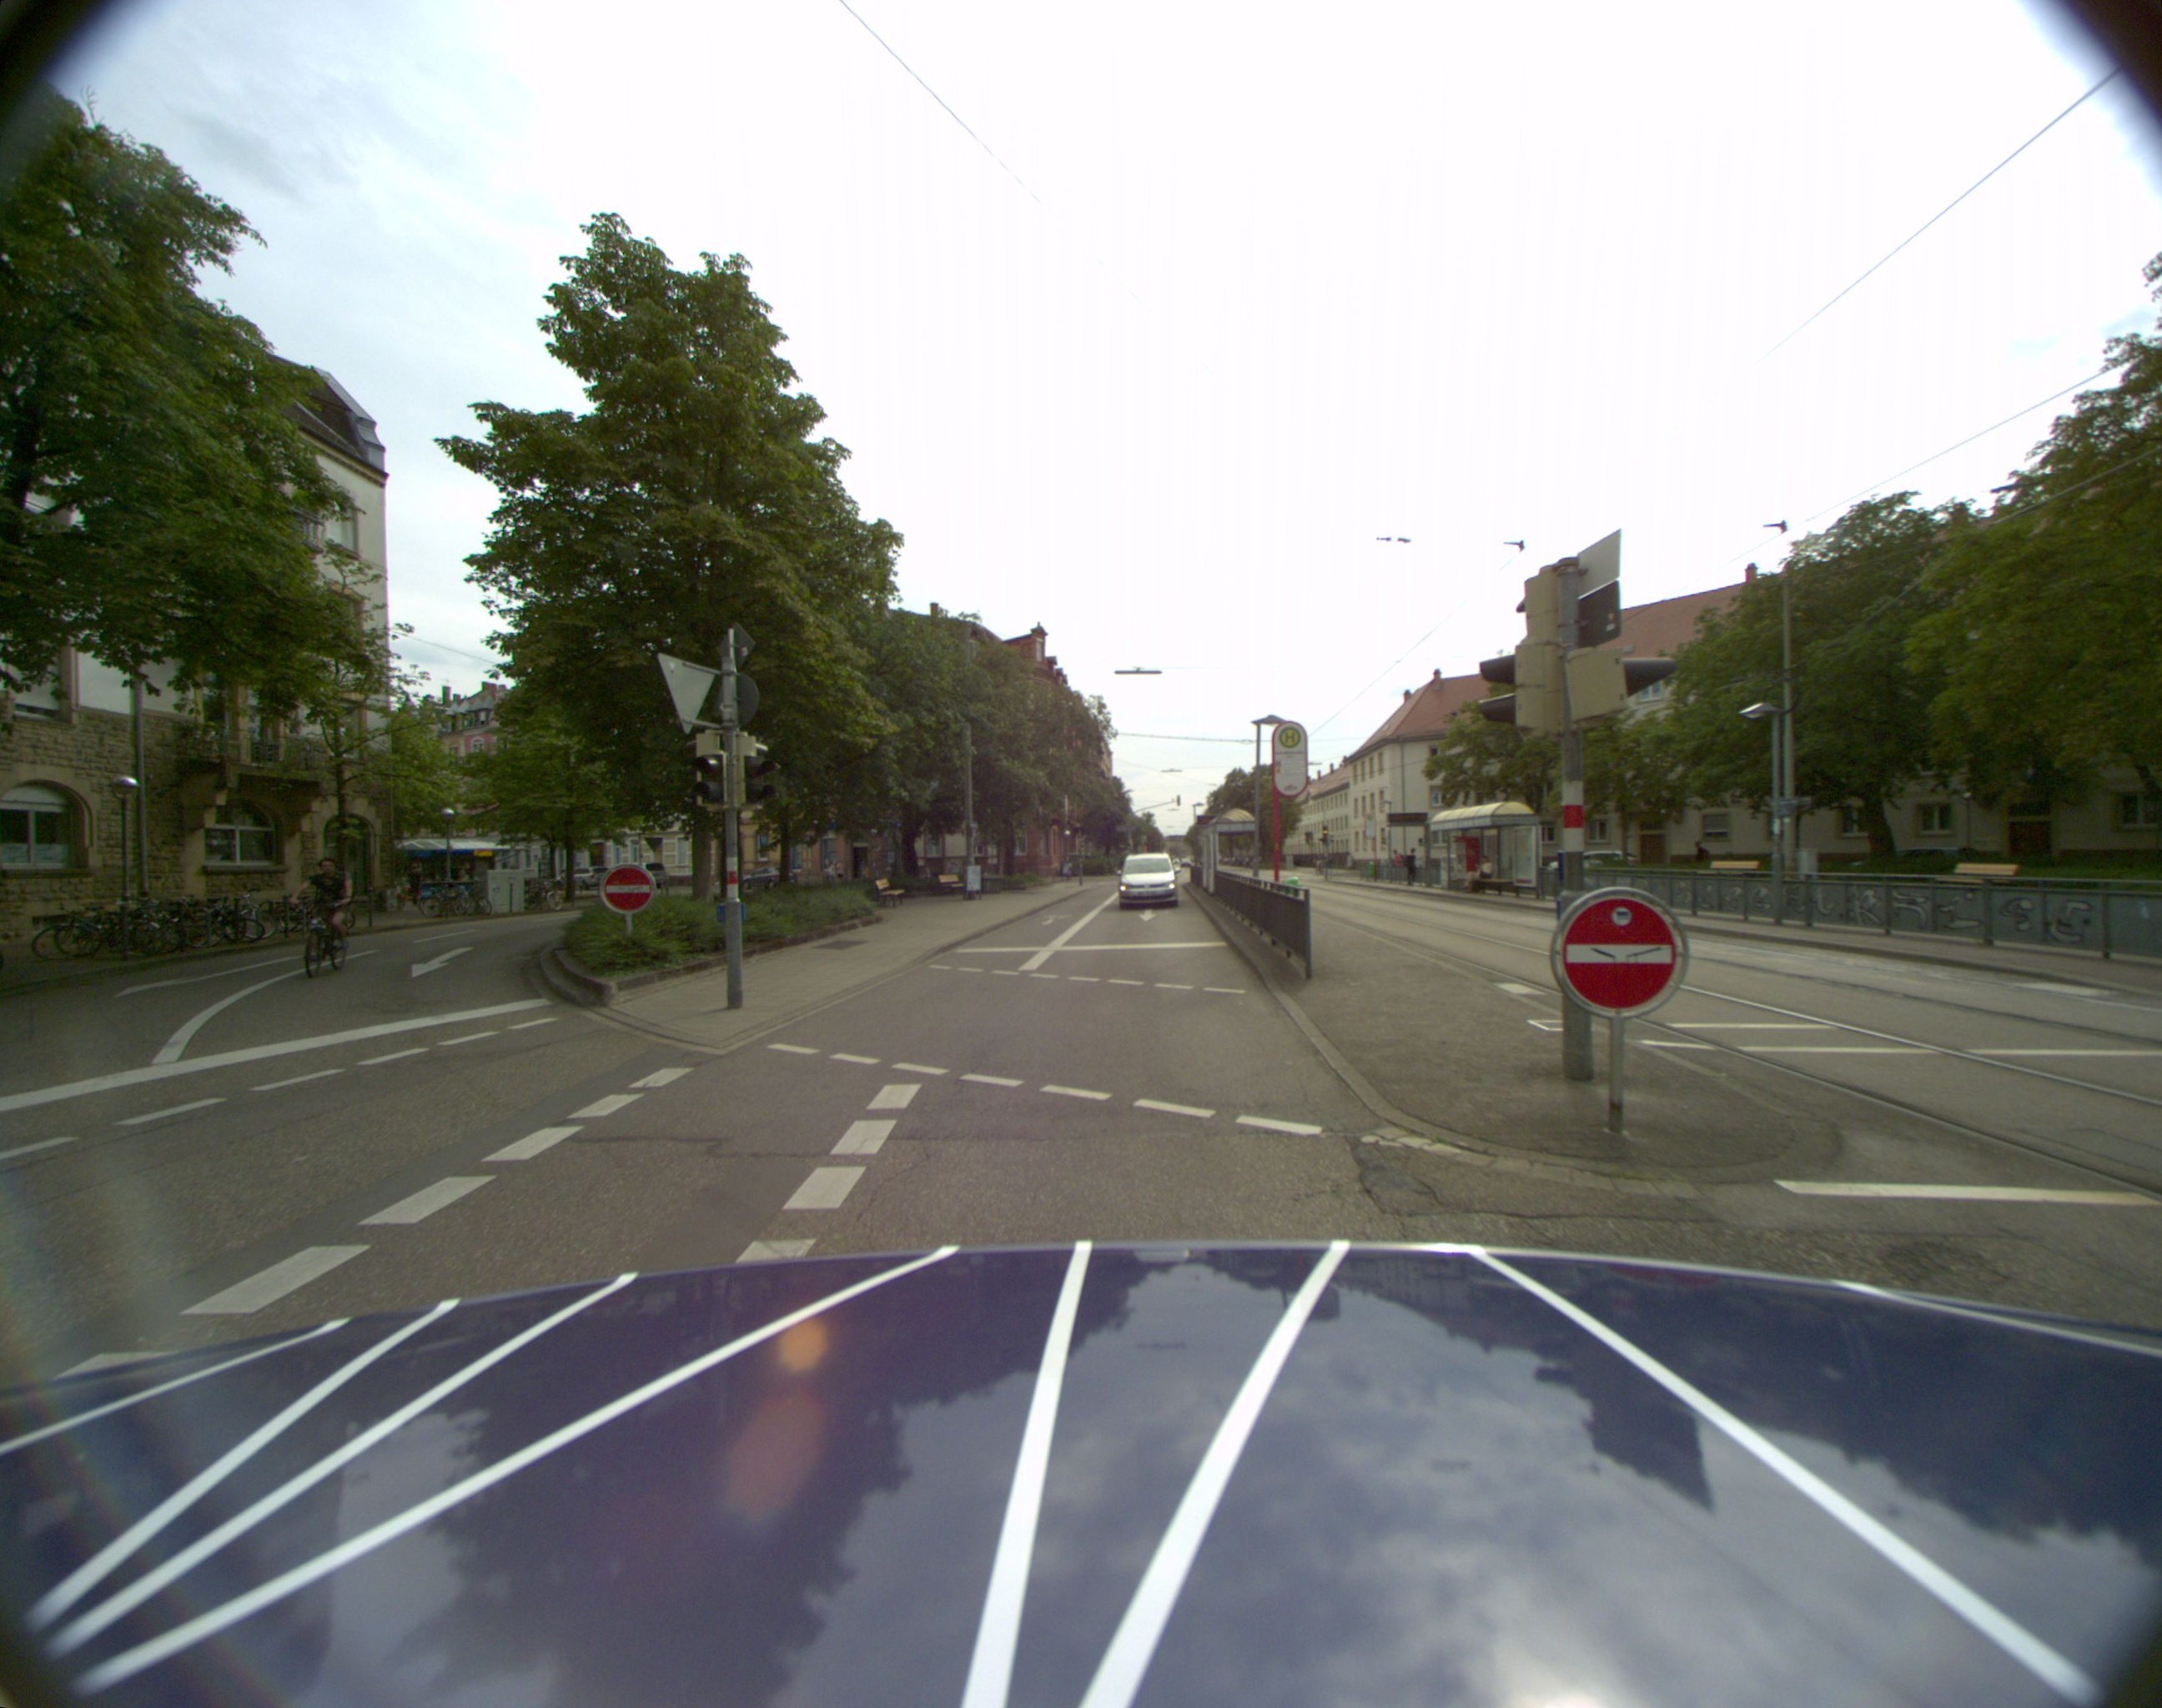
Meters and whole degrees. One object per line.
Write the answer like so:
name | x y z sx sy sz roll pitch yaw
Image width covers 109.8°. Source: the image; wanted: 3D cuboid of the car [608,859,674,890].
car | -32.101 1.517 55.445 4.534 2.104 1.742 -2 0 24

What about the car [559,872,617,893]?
car | -37.467 2.172 57.740 3.949 1.464 1.742 -2 0 24

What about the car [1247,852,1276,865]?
car | 26.812 0.705 113.142 3.994 1.716 1.877 -2 0 8

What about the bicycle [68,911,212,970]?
bicycle | -18.712 1.708 15.151 1.795 1.032 0.482 -1 -1 -23

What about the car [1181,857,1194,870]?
car | 17.038 1.491 121.905 1.997 2.002 4.002 -2 0 8

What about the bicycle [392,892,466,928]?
bicycle | -20.467 1.748 23.867 1.793 1.032 0.482 -1 -1 -7

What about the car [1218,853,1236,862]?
car | 32.673 0.760 170.062 3.994 1.716 1.877 -2 0 8

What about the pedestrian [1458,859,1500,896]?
pedestrian | 13.673 0.793 26.133 1.032 1.229 0.724 -2 0 4

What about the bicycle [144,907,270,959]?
bicycle | -19.321 1.732 16.835 1.795 1.032 0.482 -1 -1 -23

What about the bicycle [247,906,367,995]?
bicycle | -11.795 1.396 11.696 0.888 1.039 3.089 -1 0 -38

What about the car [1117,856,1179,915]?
car | 2.234 0.940 24.738 1.766 1.660 4.332 -3 0 7

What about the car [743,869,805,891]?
car | -19.532 1.672 48.314 3.581 1.259 1.742 -2 0 29

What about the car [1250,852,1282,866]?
car | 25.307 0.719 103.911 3.994 1.716 1.877 -2 0 8

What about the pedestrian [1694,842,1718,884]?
pedestrian | 30.889 0.440 37.560 0.862 2.002 0.766 -2 0 40

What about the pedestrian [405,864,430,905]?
pedestrian | -28.275 1.284 32.374 0.636 1.692 0.674 -1 1 42

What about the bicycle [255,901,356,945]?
bicycle | -20.098 1.766 19.728 1.795 1.032 0.482 -1 -1 -23

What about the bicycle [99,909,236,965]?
bicycle | -18.996 1.715 15.837 1.795 1.032 0.482 -1 -1 -23

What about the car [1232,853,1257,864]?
car | 28.791 0.732 133.866 3.994 1.716 1.877 -2 0 8

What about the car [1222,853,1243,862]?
car | 30.512 0.761 153.061 3.994 1.716 1.877 -2 0 8

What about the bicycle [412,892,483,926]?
bicycle | -20.531 1.776 24.652 1.793 1.032 0.482 -1 -1 -7

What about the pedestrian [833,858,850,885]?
pedestrian | -15.180 1.130 48.151 0.789 1.684 0.779 -1 0 3

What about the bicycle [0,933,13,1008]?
bicycle | -16.048 1.663 10.269 1.797 1.032 0.481 0 -2 -41

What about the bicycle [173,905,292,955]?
bicycle | -19.586 1.741 17.582 1.795 1.032 0.482 -1 -1 -23

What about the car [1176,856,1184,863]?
car | 28.731 1.525 220.691 1.997 2.002 4.002 -2 0 8

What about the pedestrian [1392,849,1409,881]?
pedestrian | 18.160 0.623 43.193 0.658 1.824 0.464 -2 0 -7

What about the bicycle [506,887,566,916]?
bicycle | -20.349 1.764 28.388 1.793 1.032 0.482 -1 -1 -7

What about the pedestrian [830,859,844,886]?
pedestrian | -15.189 1.156 47.270 0.612 1.684 0.641 -1 0 1

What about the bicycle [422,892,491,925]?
bicycle | -20.864 1.816 25.383 1.793 1.032 0.482 -1 -1 -7

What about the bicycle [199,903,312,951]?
bicycle | -19.820 1.747 18.288 1.795 1.032 0.482 -1 -1 -23

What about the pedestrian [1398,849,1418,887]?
pedestrian | 14.641 0.627 33.998 0.588 1.693 0.619 -2 0 2

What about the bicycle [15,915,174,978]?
bicycle | -18.387 1.702 14.207 1.795 1.032 0.482 -1 -1 -23

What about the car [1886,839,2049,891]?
car | 34.980 0.416 30.122 1.854 1.853 3.755 -2 0 -10

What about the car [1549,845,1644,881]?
car | 28.758 0.528 42.451 4.188 1.853 1.857 -3 0 41

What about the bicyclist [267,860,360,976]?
bicyclist | -11.897 0.957 11.816 0.841 1.679 1.243 -1 -1 -38
